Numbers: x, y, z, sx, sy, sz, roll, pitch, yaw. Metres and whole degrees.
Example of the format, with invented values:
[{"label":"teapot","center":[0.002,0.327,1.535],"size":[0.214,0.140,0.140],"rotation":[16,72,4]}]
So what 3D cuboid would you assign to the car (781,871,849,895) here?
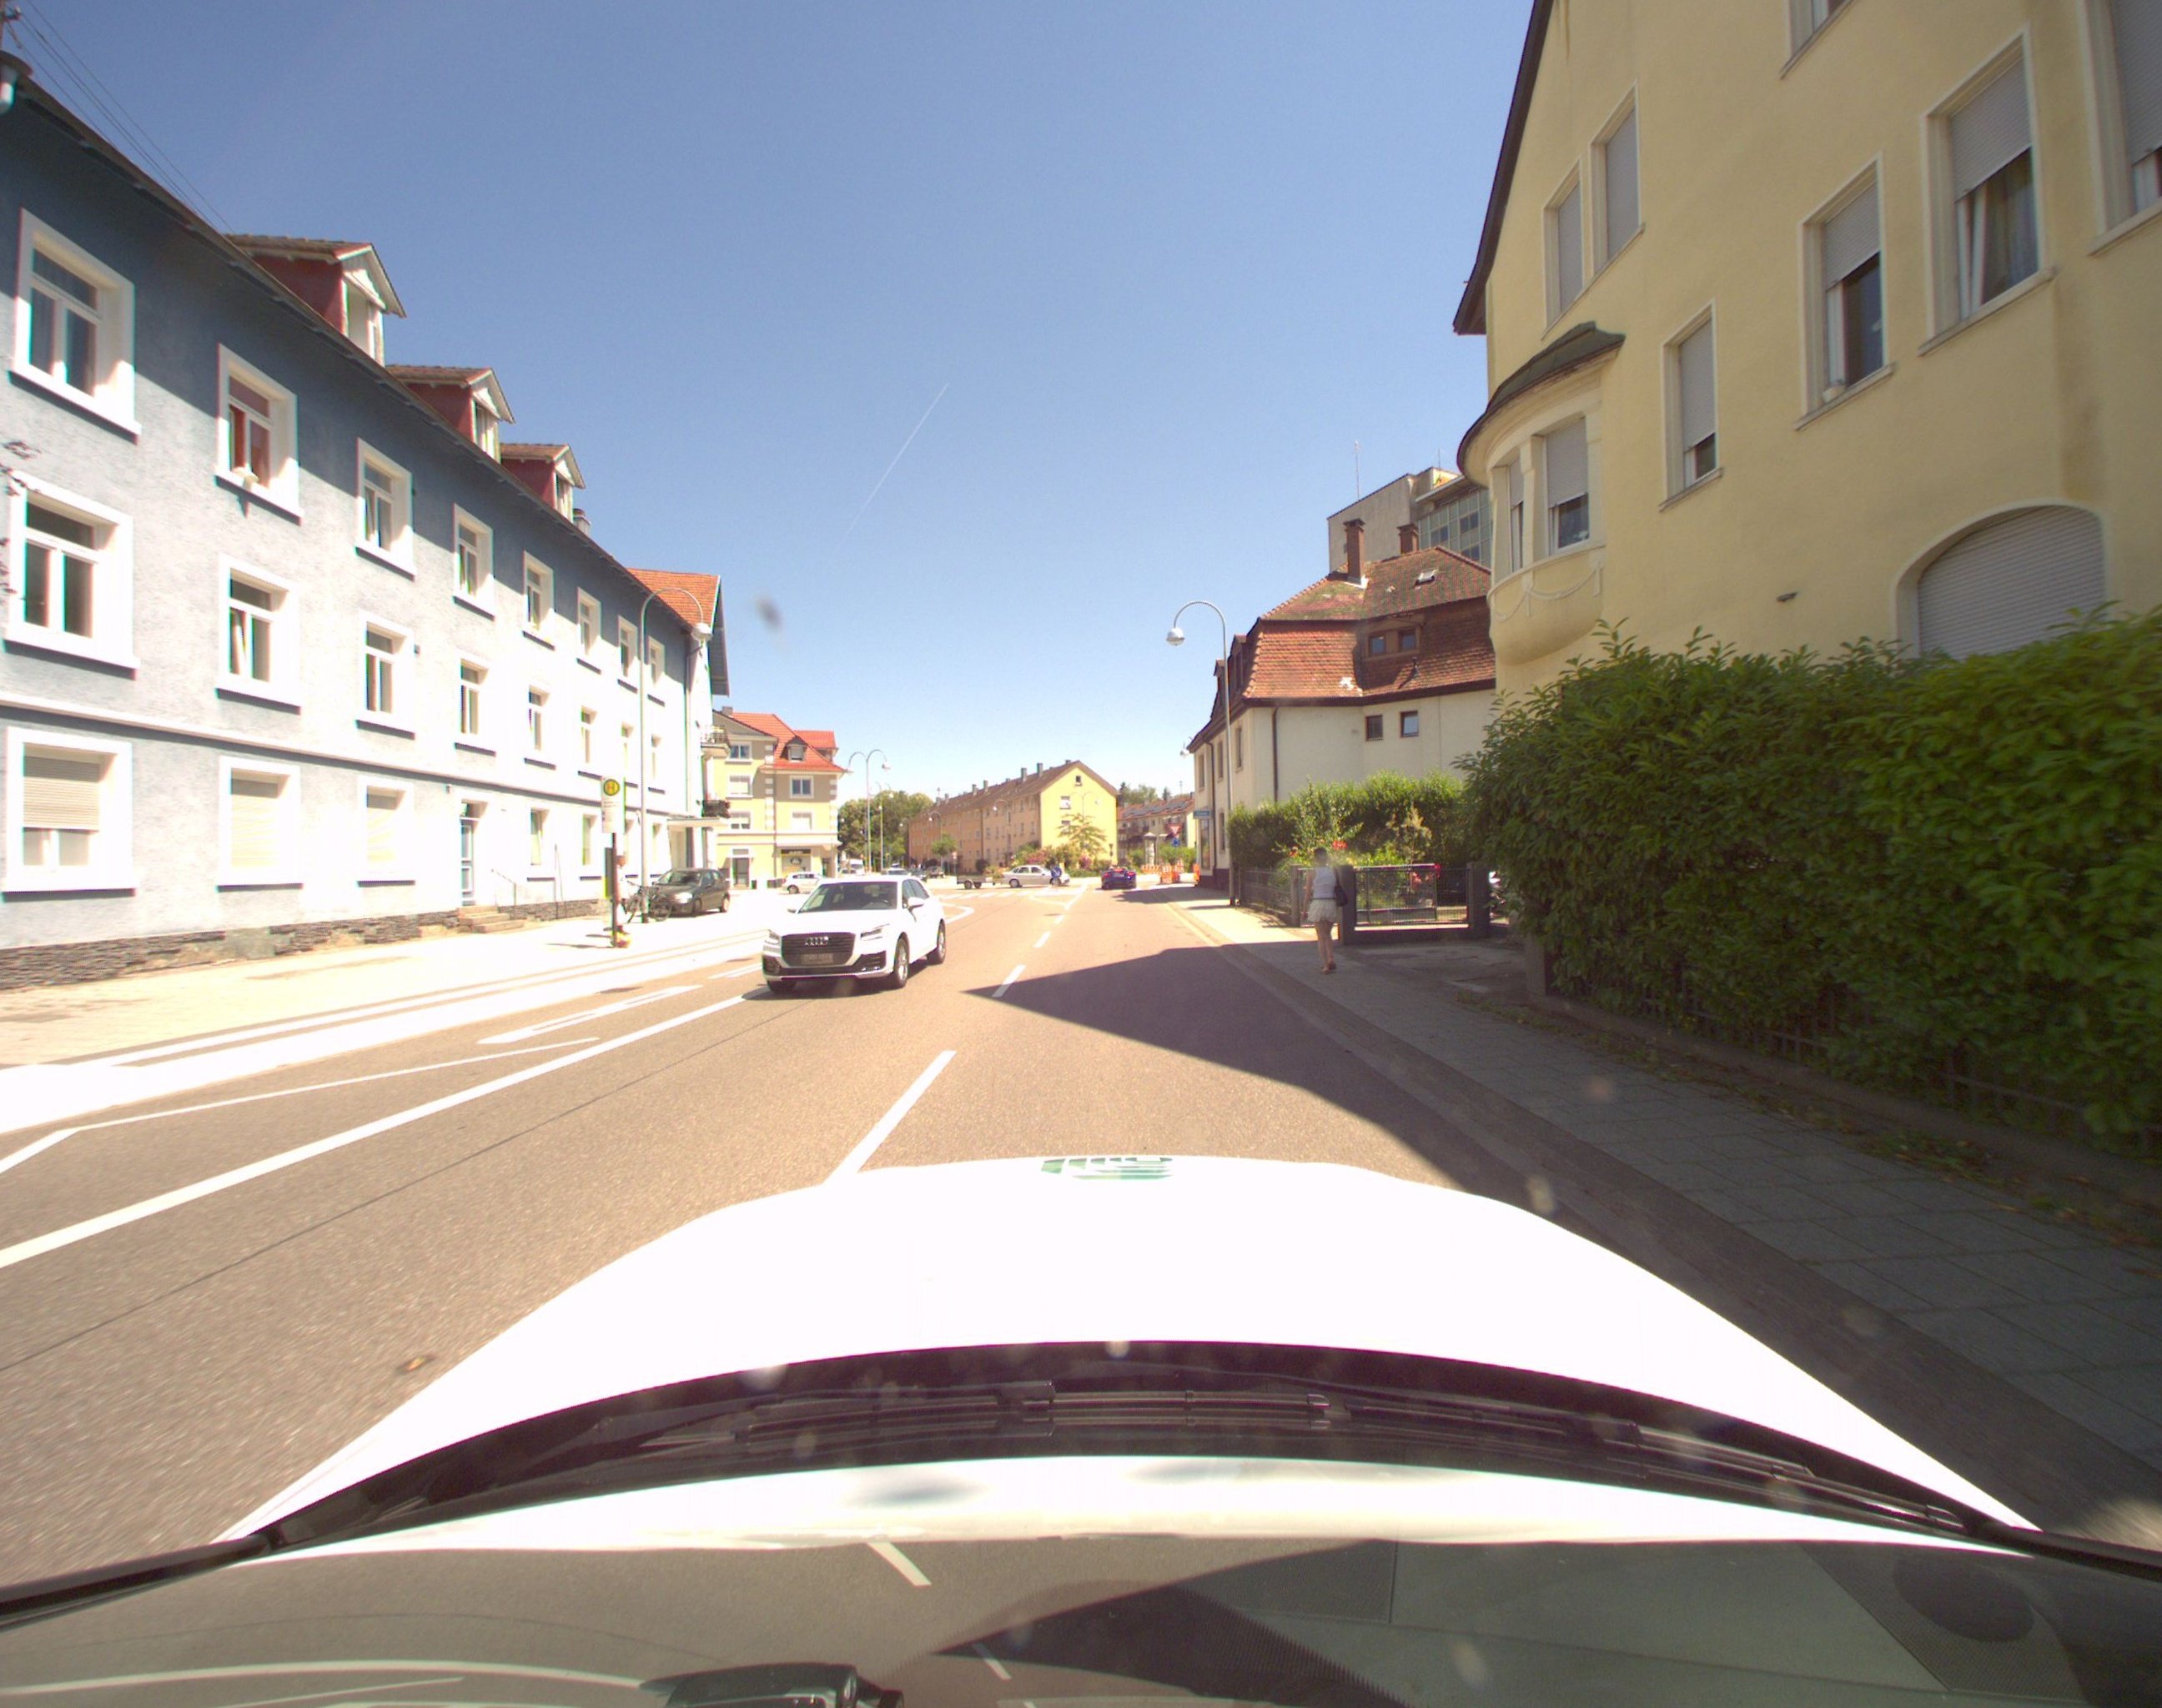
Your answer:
[{"label":"car","center":[-17.681,1.952,54.304],"size":[4.116,1.551,1.780],"rotation":[1,-2,-11]}]

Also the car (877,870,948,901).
[{"label":"car","center":[-11.833,2.202,57.193],"size":[4.416,1.529,1.823],"rotation":[-8,2,-38]}]

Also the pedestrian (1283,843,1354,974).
[{"label":"pedestrian","center":[3.114,0.696,10.745],"size":[0.621,1.644,0.771],"rotation":[-2,-2,-2]}]

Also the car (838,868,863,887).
[{"label":"car","center":[-21.316,2.170,75.241],"size":[1.782,1.686,4.659],"rotation":[0,-1,-22]}]

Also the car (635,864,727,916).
[{"label":"car","center":[-12.821,1.153,26.327],"size":[1.577,1.535,3.763],"rotation":[-1,-3,-8]}]

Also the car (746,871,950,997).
[{"label":"car","center":[-3.222,1.075,12.117],"size":[1.814,1.530,3.950],"rotation":[-1,-3,1]}]

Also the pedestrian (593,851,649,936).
[{"label":"pedestrian","center":[-10.337,0.886,18.314],"size":[0.755,1.848,0.770],"rotation":[2,-2,-6]}]

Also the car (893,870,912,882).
[{"label":"car","center":[-26.387,3.270,120.370],"size":[1.822,1.794,3.964],"rotation":[1,-2,-27]}]

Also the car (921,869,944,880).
[{"label":"car","center":[-19.235,2.667,105.591],"size":[1.822,1.500,3.964],"rotation":[1,-2,-27]}]

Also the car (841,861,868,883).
[{"label":"car","center":[-26.973,2.201,96.872],"size":[2.154,2.533,6.187],"rotation":[1,-2,-24]}]

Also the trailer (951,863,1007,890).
[{"label":"trailer","center":[-6.578,1.471,52.612],"size":[3.168,1.717,1.761],"rotation":[0,-2,9]}]

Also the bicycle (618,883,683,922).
[{"label":"bicycle","center":[-11.745,1.305,22.294],"size":[0.493,0.977,1.976],"rotation":[3,-1,6]}]

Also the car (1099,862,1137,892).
[{"label":"car","center":[1.988,1.316,44.935],"size":[1.865,1.530,4.504],"rotation":[-1,-3,-1]}]

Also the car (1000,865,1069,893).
[{"label":"car","center":[-2.959,1.573,52.079],"size":[4.090,1.747,1.791],"rotation":[0,-2,9]}]
